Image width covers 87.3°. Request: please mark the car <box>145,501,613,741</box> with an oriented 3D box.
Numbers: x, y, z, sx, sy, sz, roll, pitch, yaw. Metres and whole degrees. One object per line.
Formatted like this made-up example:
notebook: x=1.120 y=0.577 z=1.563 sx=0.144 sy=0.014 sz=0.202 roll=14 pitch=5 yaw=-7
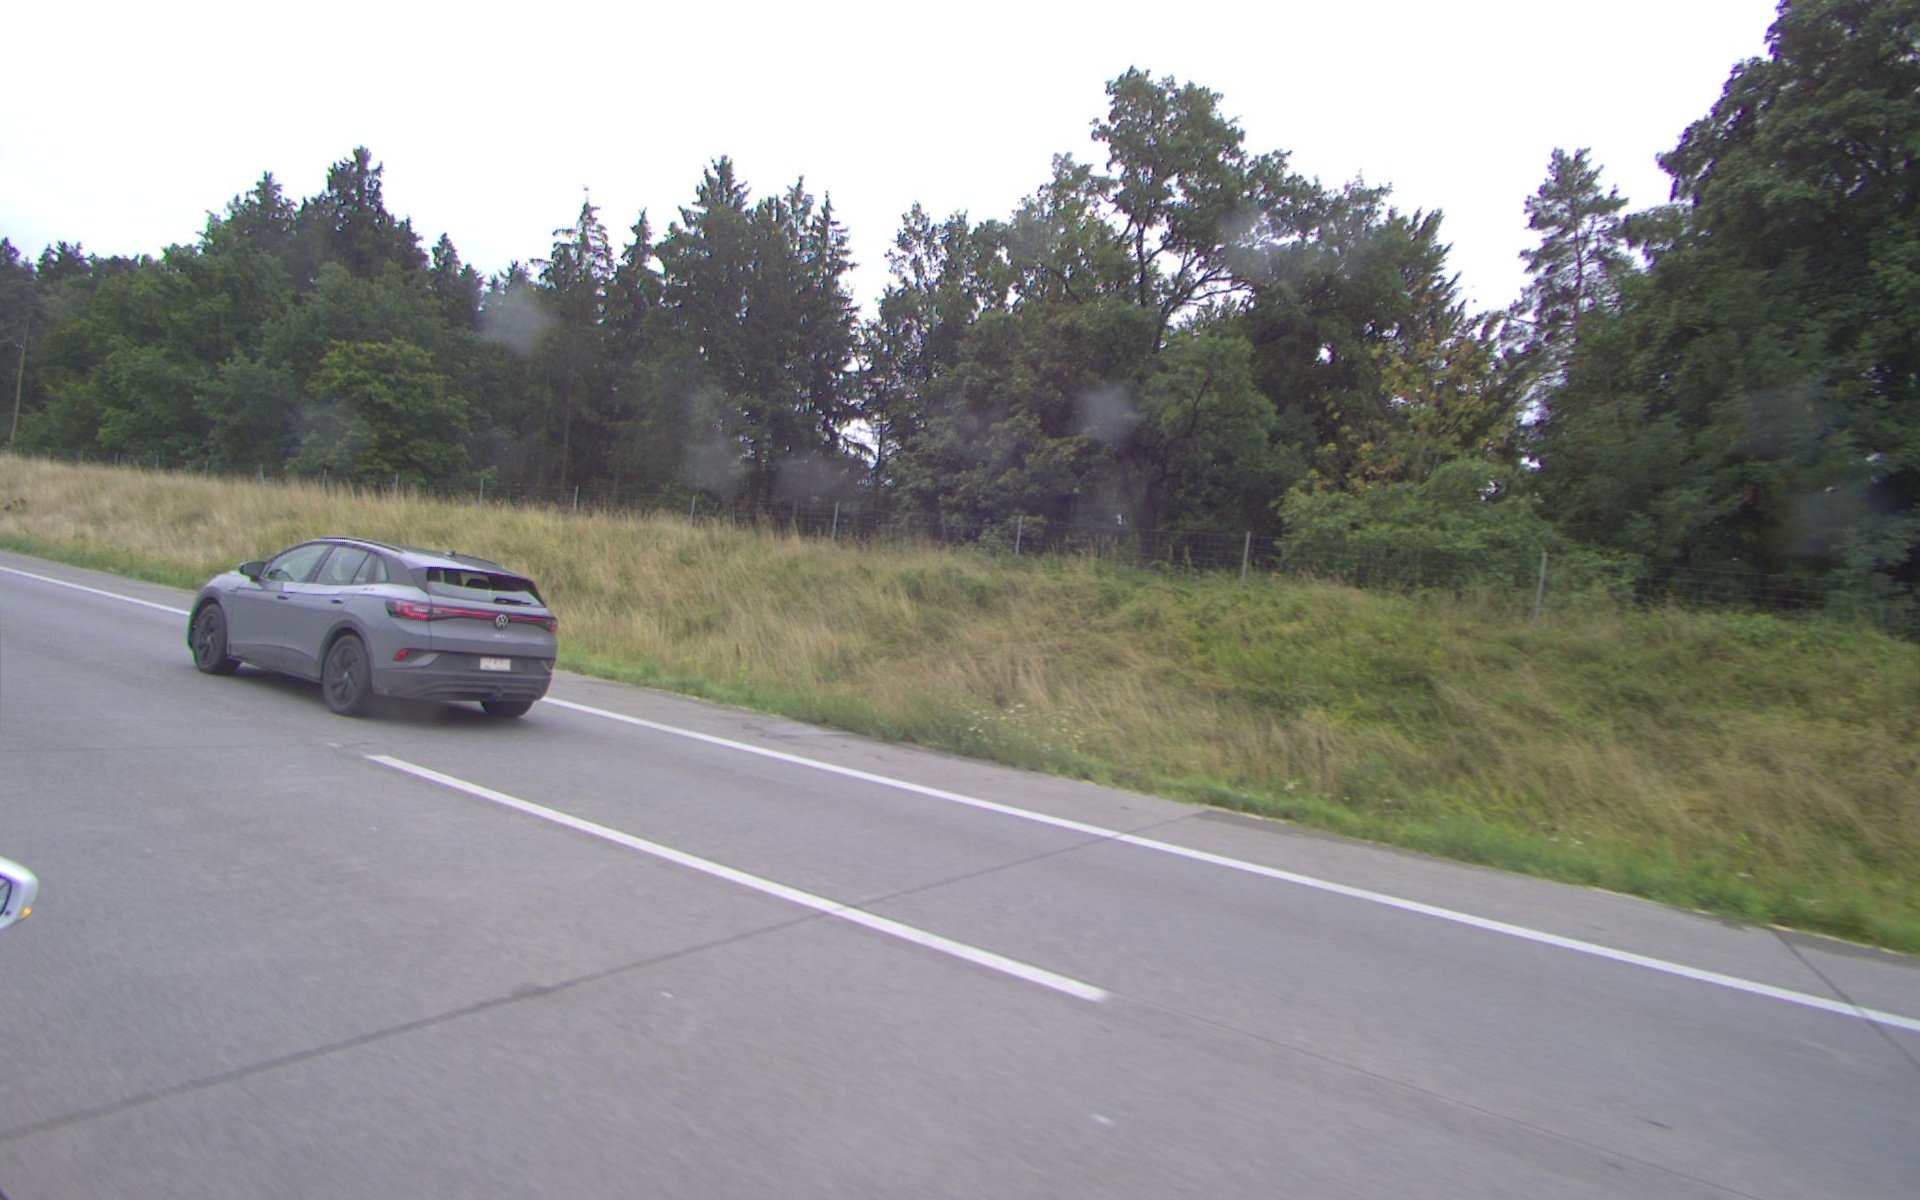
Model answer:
car: x=-6.290 y=0.138 z=10.678 sx=5.178 sy=1.709 sz=1.902 roll=8 pitch=-1 yaw=31
